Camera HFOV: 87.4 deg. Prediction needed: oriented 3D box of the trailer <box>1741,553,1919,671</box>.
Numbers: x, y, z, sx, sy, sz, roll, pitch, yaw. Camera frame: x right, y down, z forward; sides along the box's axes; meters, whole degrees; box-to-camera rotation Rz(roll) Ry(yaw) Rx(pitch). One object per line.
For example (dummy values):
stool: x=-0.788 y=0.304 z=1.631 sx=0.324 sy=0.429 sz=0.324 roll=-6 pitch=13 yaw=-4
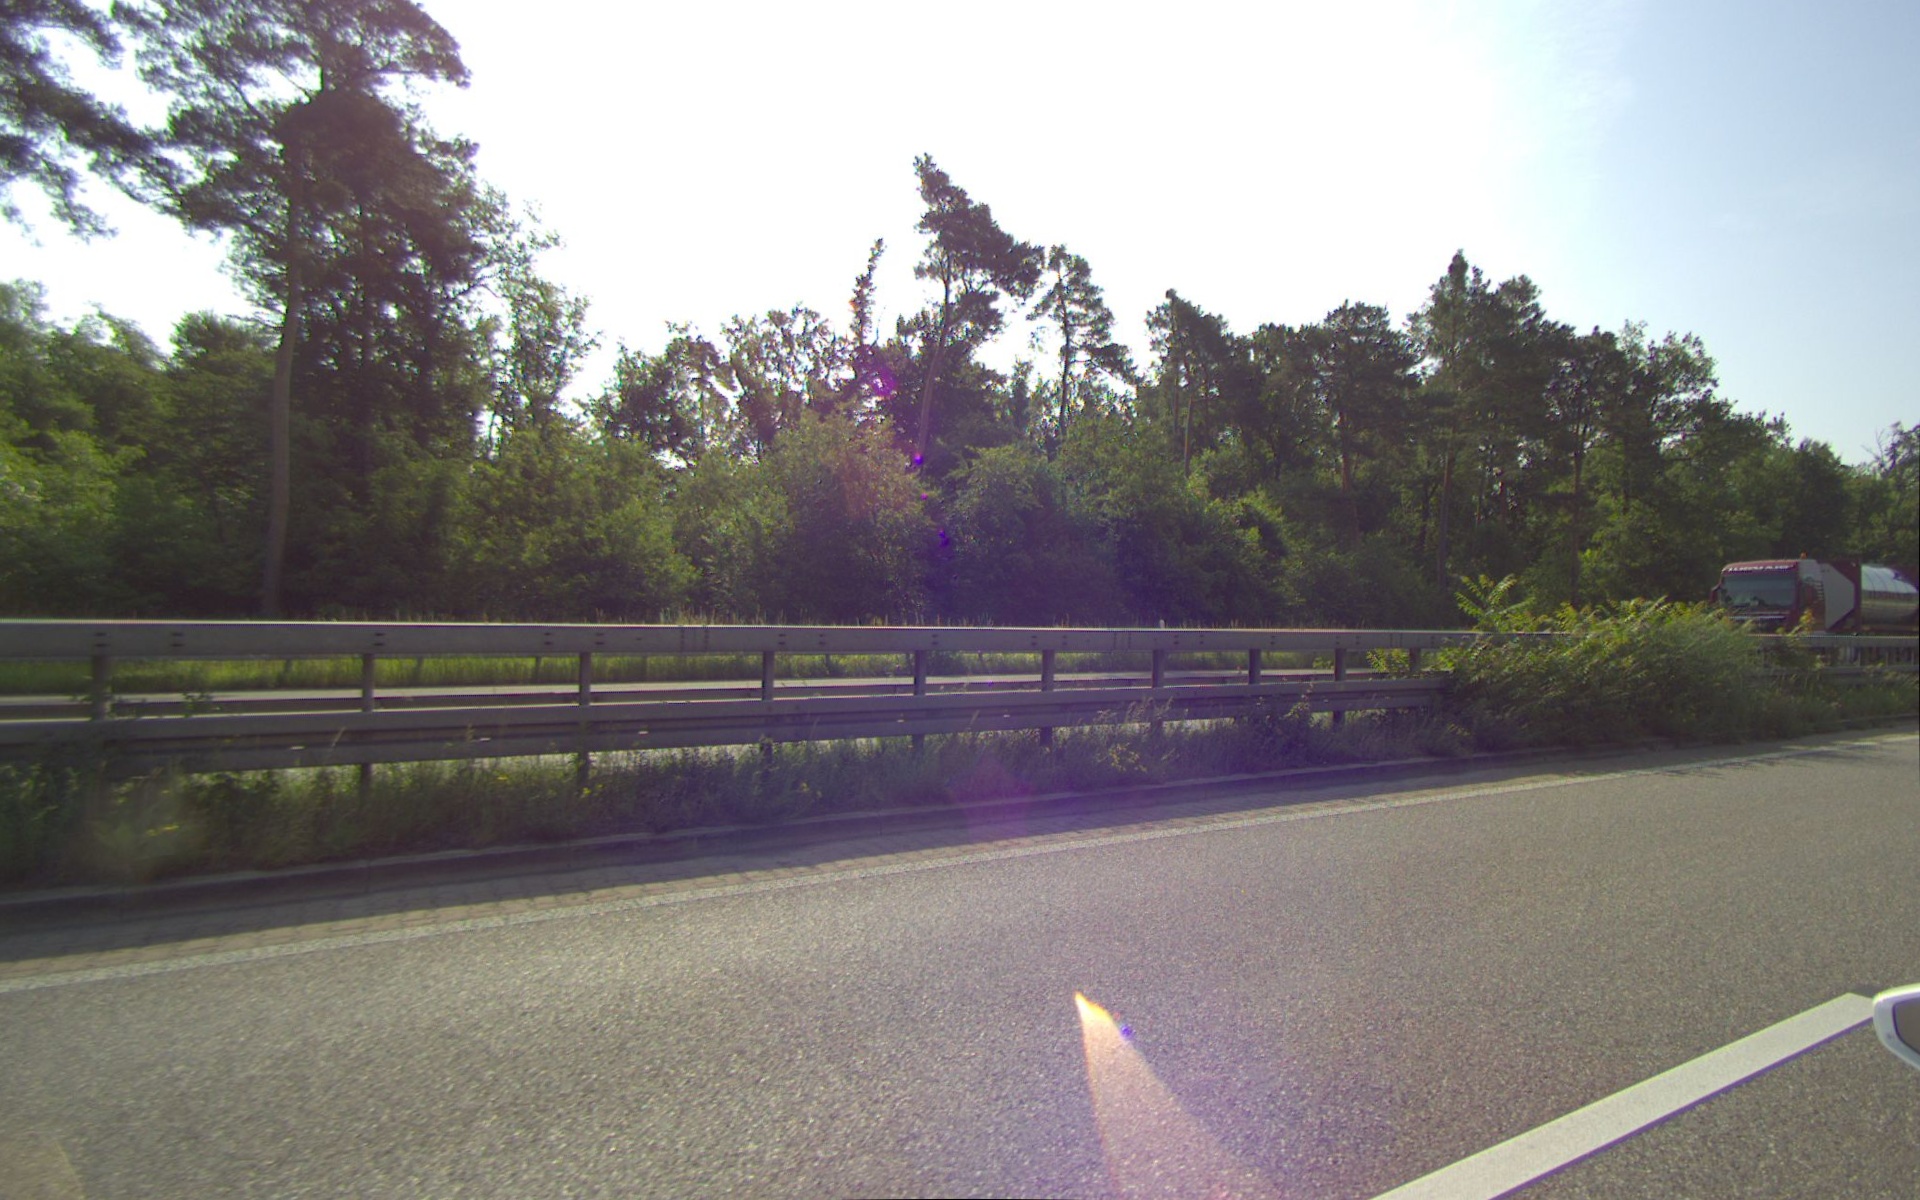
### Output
trailer: x=33.763 y=0.537 z=38.465 sx=8.278 sy=4.093 sz=3.278 roll=2 pitch=0 yaw=-31

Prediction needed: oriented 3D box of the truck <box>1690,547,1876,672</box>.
truck: x=29.329 y=0.383 z=35.753 sx=6.163 sy=4.093 sz=3.249 roll=2 pitch=0 yaw=-32
